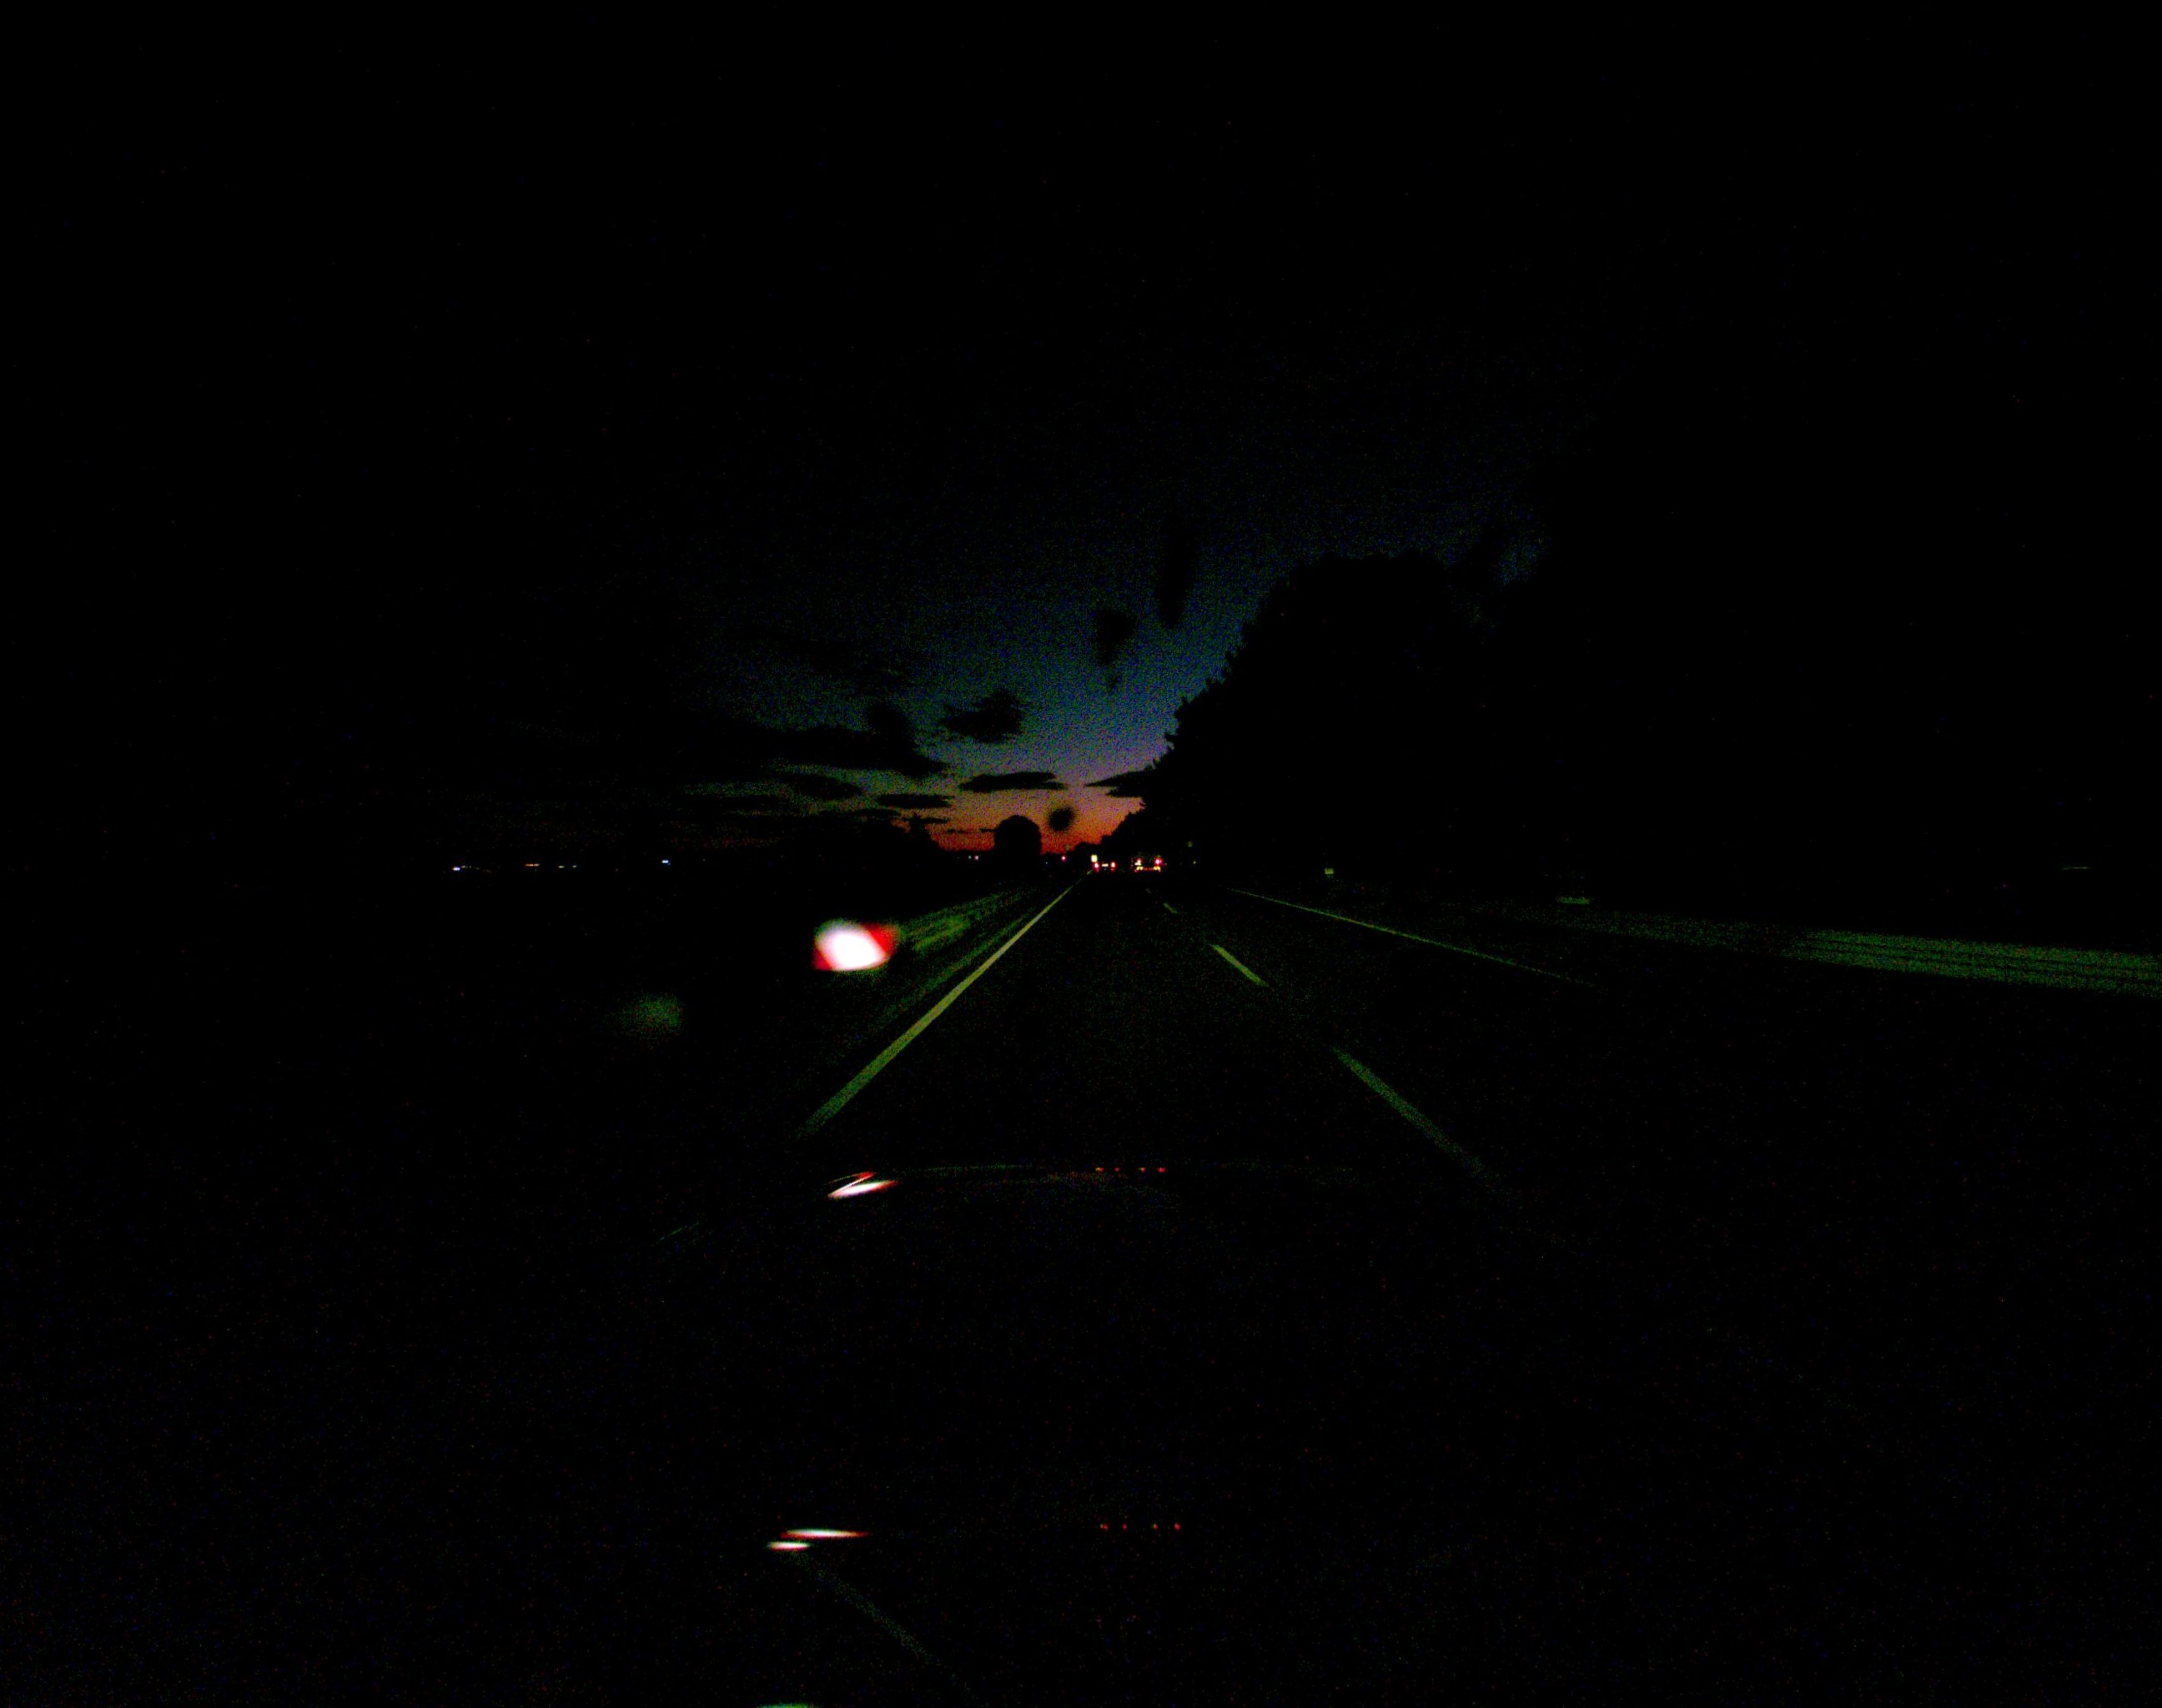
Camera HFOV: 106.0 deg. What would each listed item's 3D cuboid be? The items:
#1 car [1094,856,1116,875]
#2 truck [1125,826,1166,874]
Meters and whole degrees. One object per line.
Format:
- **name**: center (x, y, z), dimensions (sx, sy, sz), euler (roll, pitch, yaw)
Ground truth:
- **car**: center (1.968, 0.895, 67.186), dimensions (1.690, 1.452, 3.914), euler (-1, 0, 0)
- **truck**: center (5.947, -0.376, 76.919), dimensions (2.873, 4.106, 12.683), euler (-1, 0, 0)
